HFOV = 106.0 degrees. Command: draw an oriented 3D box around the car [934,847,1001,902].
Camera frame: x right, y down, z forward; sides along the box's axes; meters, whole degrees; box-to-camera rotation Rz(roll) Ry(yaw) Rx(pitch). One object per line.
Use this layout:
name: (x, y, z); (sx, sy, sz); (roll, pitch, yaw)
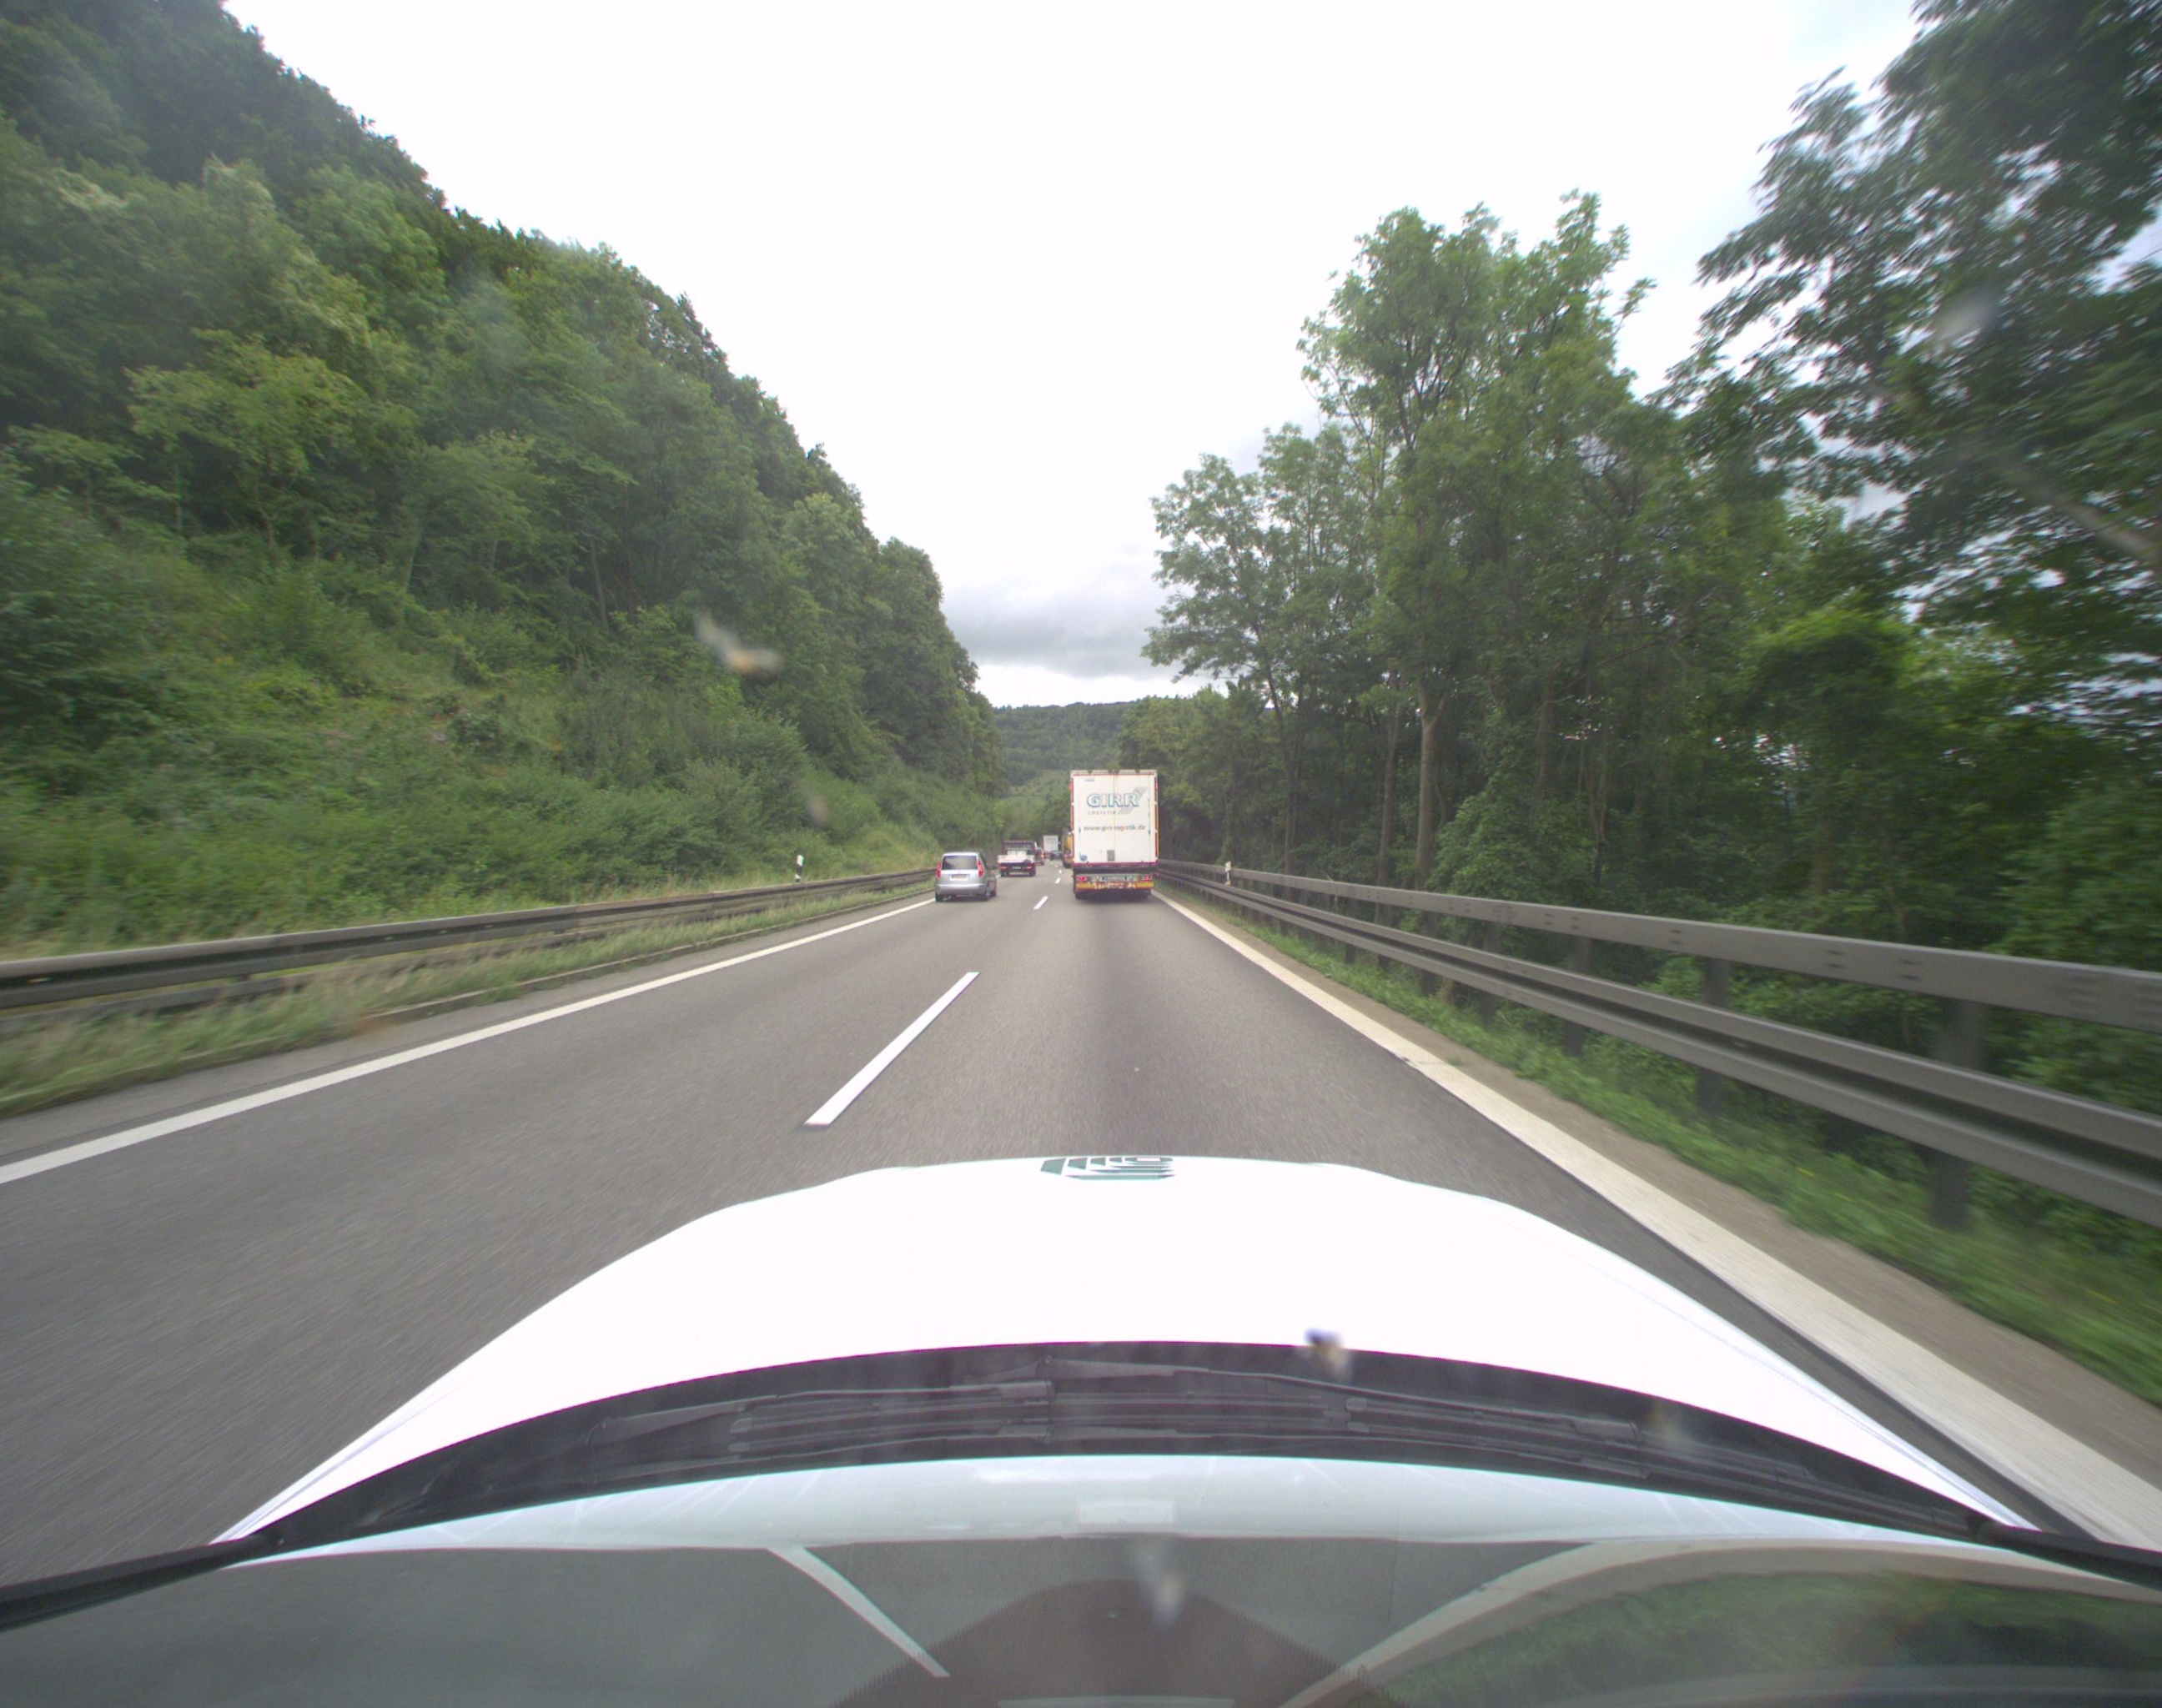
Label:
car: (-3.769, 0.634, 27.598); (1.628, 1.726, 4.344); (0, 0, 0)

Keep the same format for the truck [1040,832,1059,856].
truck: (-5.467, -1.644, 140.039); (3.063, 3.877, 8.445); (1, 0, -4)

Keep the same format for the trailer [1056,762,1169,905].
trailer: (0.885, -0.633, 28.371); (3.123, 4.042, 9.437); (2, 0, -1)

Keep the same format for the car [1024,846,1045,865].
car: (-4.871, 0.145, 86.392); (2.013, 1.914, 5.559); (1, 0, -2)

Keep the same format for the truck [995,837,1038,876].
truck: (-4.003, 0.138, 51.815); (2.343, 2.274, 6.844); (1, 0, -2)

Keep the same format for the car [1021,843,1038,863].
car: (-6.713, -0.108, 106.747); (2.118, 2.598, 5.558); (0, 0, -2)

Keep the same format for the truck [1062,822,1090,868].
truck: (-0.427, -0.773, 71.637); (2.226, 3.804, 6.821); (1, 0, 0)

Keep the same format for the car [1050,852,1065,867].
car: (-3.373, 0.746, 115.651); (1.988, 2.014, 3.997); (1, 0, -2)

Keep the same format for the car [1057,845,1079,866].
car: (-1.318, 0.124, 82.362); (1.989, 2.014, 4.328); (1, 0, -3)
